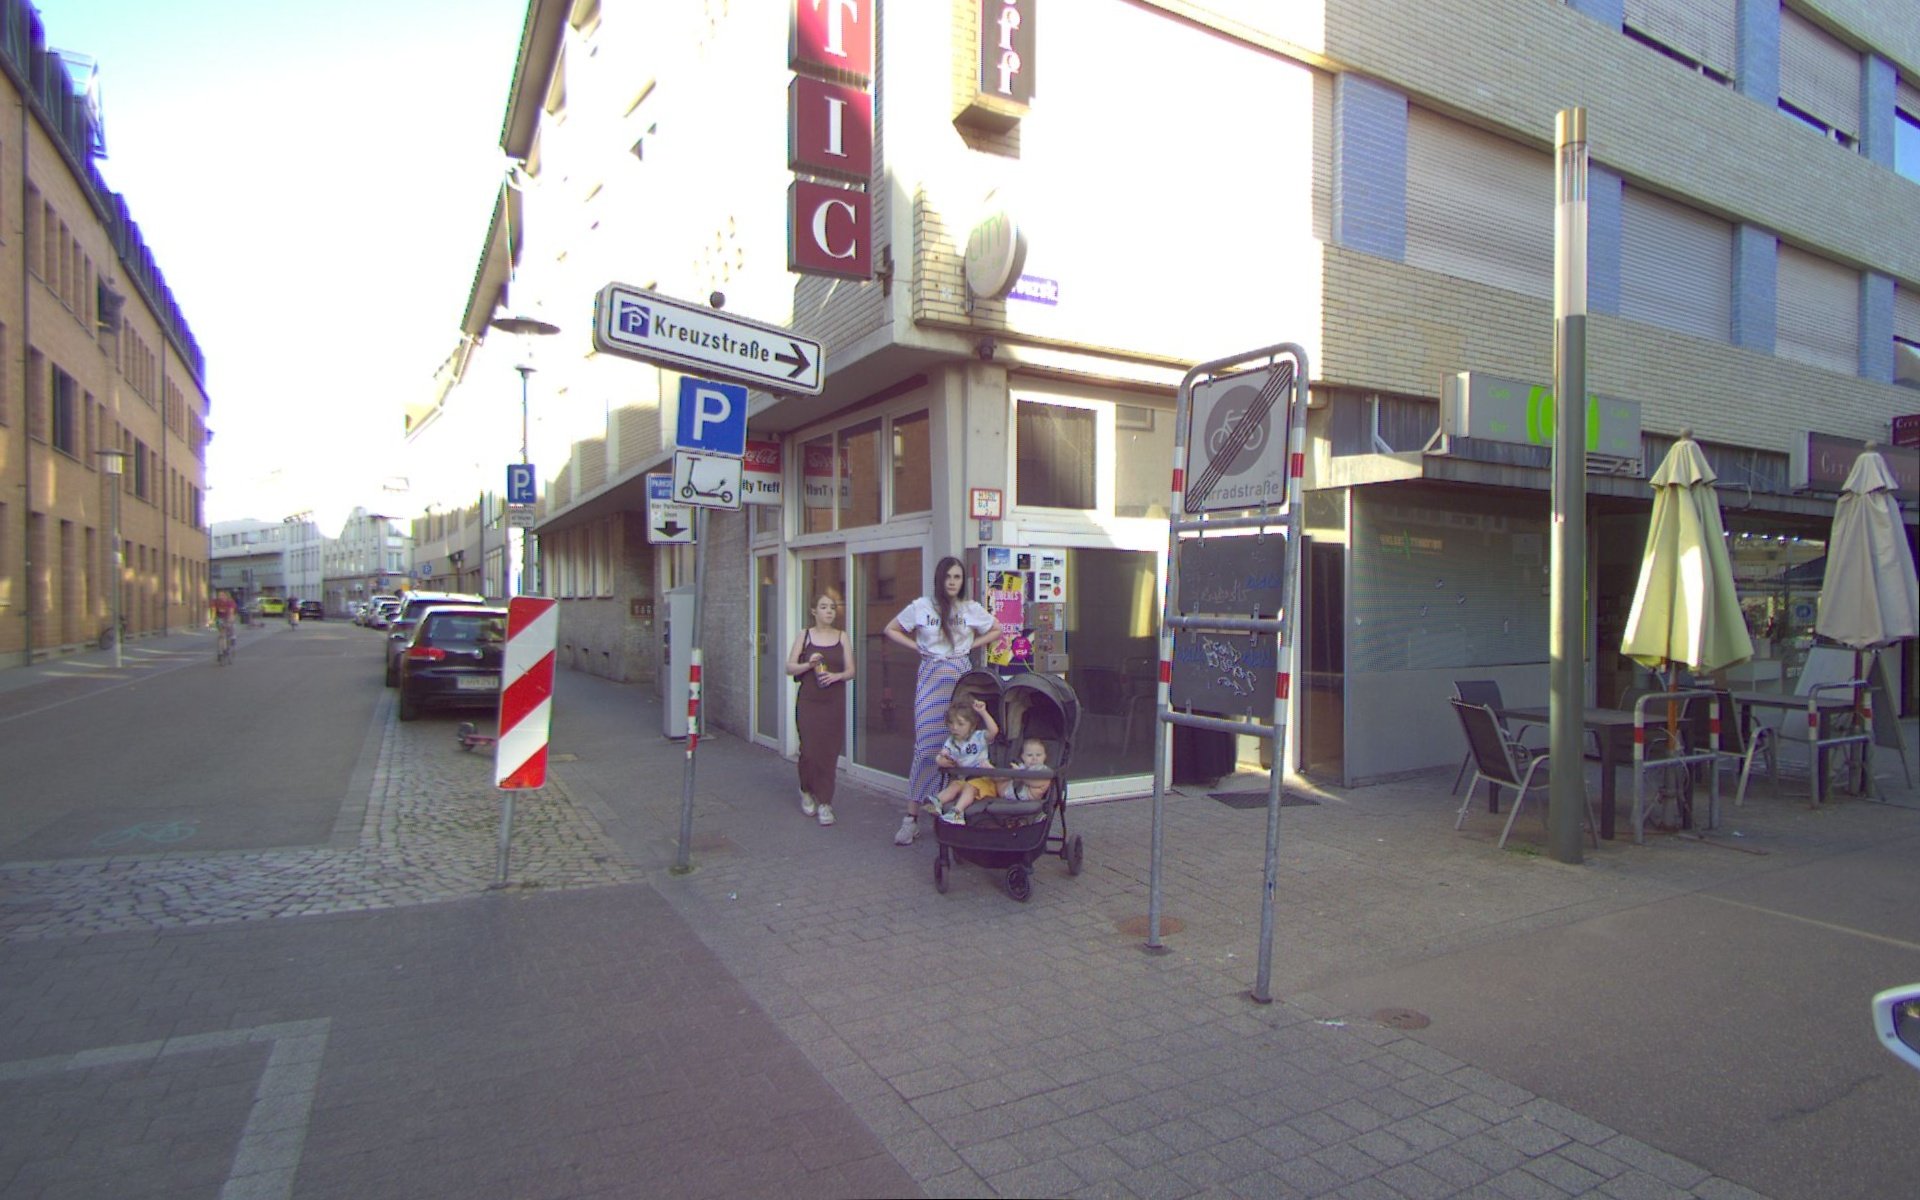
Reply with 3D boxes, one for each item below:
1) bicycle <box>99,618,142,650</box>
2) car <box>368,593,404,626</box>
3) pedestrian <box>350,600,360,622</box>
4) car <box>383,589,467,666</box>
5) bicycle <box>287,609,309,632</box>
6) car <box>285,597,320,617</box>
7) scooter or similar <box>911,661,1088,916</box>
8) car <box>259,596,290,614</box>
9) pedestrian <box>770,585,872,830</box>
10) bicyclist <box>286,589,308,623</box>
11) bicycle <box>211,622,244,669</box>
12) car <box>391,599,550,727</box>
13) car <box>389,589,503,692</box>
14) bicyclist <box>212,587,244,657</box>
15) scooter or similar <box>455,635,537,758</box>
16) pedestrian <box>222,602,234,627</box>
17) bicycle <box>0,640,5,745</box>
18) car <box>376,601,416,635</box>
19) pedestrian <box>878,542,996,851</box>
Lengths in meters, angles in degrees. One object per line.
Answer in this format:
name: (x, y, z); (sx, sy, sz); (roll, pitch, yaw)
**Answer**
bicycle: (-25.385, 1.012, 30.398); (0.636, 0.893, 2.534); (1, -1, -32)
car: (-33.311, 0.554, 58.286); (1.675, 1.798, 3.625); (3, -2, -31)
pedestrian: (-42.531, 0.778, 70.581); (0.566, 1.499, 0.469); (0, 0, -37)
car: (-13.339, 0.662, 25.001); (1.654, 1.727, 3.981); (3, -2, -29)
bicycle: (-33.158, 1.019, 50.323); (0.696, 1.118, 1.814); (-4, 2, -28)
car: (-56.602, 0.567, 86.427); (1.922, 1.673, 3.788); (0, 0, -43)
scooter or similar: (0.245, 0.946, 5.410); (0.783, 1.159, 0.954); (0, 1, 13)
car: (-67.112, 0.449, 98.334); (1.922, 1.673, 3.788); (2, -1, -43)
pedestrian: (-0.966, 0.708, 6.946); (0.526, 1.601, 0.508); (-3, 1, -23)
bicyclist: (-33.216, 0.312, 50.365); (0.763, 1.678, 0.950); (-3, 1, -28)
bicycle: (-16.223, 0.984, 22.270); (0.431, 0.970, 1.578); (0, 0, -30)
car: (-6.951, 0.791, 14.098); (1.720, 1.505, 3.781); (3, -1, -29)
car: (-9.621, 0.710, 18.683); (1.654, 1.683, 4.049); (3, -2, -29)
bicyclist: (-16.211, 0.474, 22.255); (0.423, 1.518, 0.868); (-2, 1, -30)
scooter or similar: (-4.682, 0.959, 10.136); (0.865, 1.199, 0.208); (0, 0, 21)
pedestrian: (-46.619, 0.913, 63.977); (0.537, 1.565, 0.402); (1, -1, -31)
bicycle: (-9.692, 0.949, 9.388); (0.566, 1.065, 1.824); (-1, 1, -26)
car: (-30.172, 0.963, 53.697); (1.675, 1.701, 3.478); (3, -2, -31)
pedestrian: (-0.135, 0.581, 6.355); (0.647, 1.844, 0.571); (-2, 1, 0)
